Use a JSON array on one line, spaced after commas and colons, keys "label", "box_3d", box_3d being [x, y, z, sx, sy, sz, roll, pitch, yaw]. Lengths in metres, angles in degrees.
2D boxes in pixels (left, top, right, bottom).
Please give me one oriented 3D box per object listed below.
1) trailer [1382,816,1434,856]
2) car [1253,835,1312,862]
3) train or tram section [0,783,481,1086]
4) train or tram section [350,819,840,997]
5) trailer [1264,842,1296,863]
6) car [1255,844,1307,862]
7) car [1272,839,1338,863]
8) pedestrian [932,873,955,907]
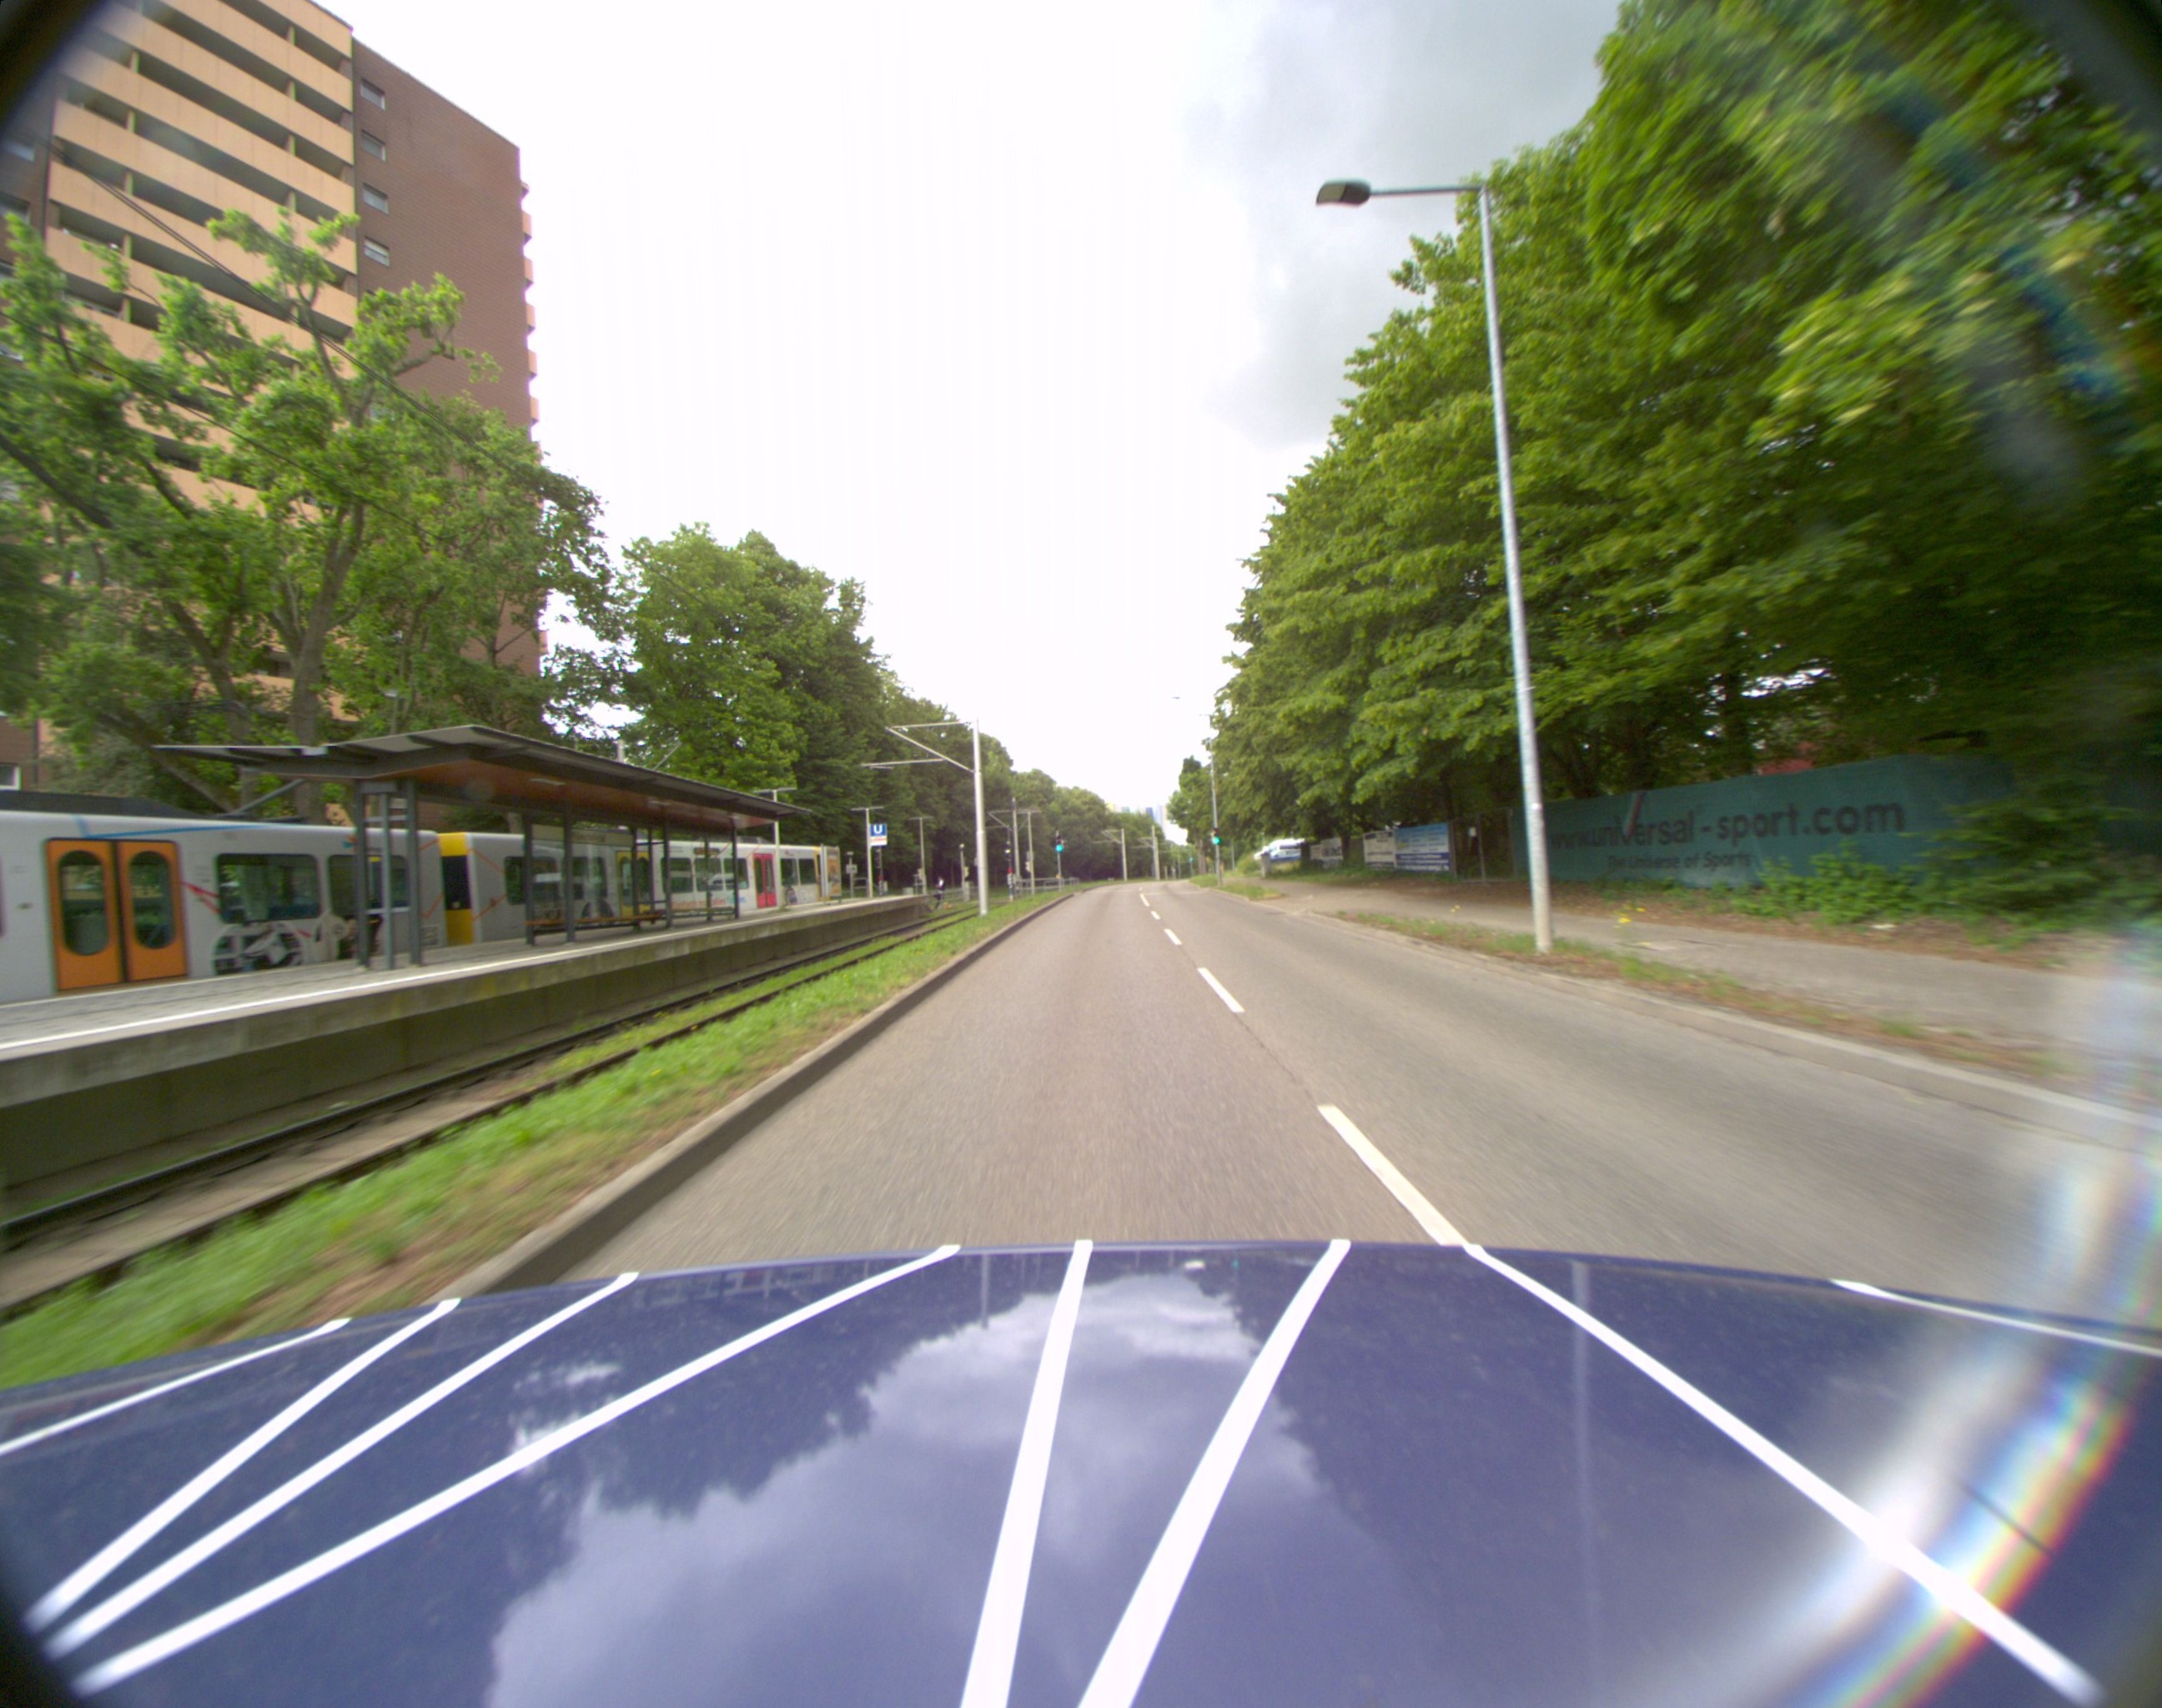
[{"label": "trailer", "box_3d": [28.365, -1.474, 66.179, 2.652, 3.055, 7.202, -5, -1, 13]}, {"label": "car", "box_3d": [18.845, -0.475, 71.394, 5.165, 2.093, 2.217, -4, -2, 12]}, {"label": "train or tram section", "box_3d": [-14.995, 1.075, 7.175, 2.820, 3.776, 18.937, -4, -1, 2]}, {"label": "train or tram section", "box_3d": [-13.604, 1.230, 25.831, 2.819, 3.714, 18.541, -4, -1, 6]}, {"label": "trailer", "box_3d": [22.446, -0.155, 85.711, 3.370, 2.045, 1.680, -4, -2, 17]}, {"label": "car", "box_3d": [18.012, -0.084, 68.569, 4.385, 1.308, 1.565, -4, -2, 12]}, {"label": "car", "box_3d": [18.932, -0.214, 64.383, 5.165, 1.552, 1.888, -4, -2, 12]}, {"label": "pedestrian", "box_3d": [-7.328, 1.915, 40.544, 0.986, 1.747, 0.729, -4, -1, -4]}]
